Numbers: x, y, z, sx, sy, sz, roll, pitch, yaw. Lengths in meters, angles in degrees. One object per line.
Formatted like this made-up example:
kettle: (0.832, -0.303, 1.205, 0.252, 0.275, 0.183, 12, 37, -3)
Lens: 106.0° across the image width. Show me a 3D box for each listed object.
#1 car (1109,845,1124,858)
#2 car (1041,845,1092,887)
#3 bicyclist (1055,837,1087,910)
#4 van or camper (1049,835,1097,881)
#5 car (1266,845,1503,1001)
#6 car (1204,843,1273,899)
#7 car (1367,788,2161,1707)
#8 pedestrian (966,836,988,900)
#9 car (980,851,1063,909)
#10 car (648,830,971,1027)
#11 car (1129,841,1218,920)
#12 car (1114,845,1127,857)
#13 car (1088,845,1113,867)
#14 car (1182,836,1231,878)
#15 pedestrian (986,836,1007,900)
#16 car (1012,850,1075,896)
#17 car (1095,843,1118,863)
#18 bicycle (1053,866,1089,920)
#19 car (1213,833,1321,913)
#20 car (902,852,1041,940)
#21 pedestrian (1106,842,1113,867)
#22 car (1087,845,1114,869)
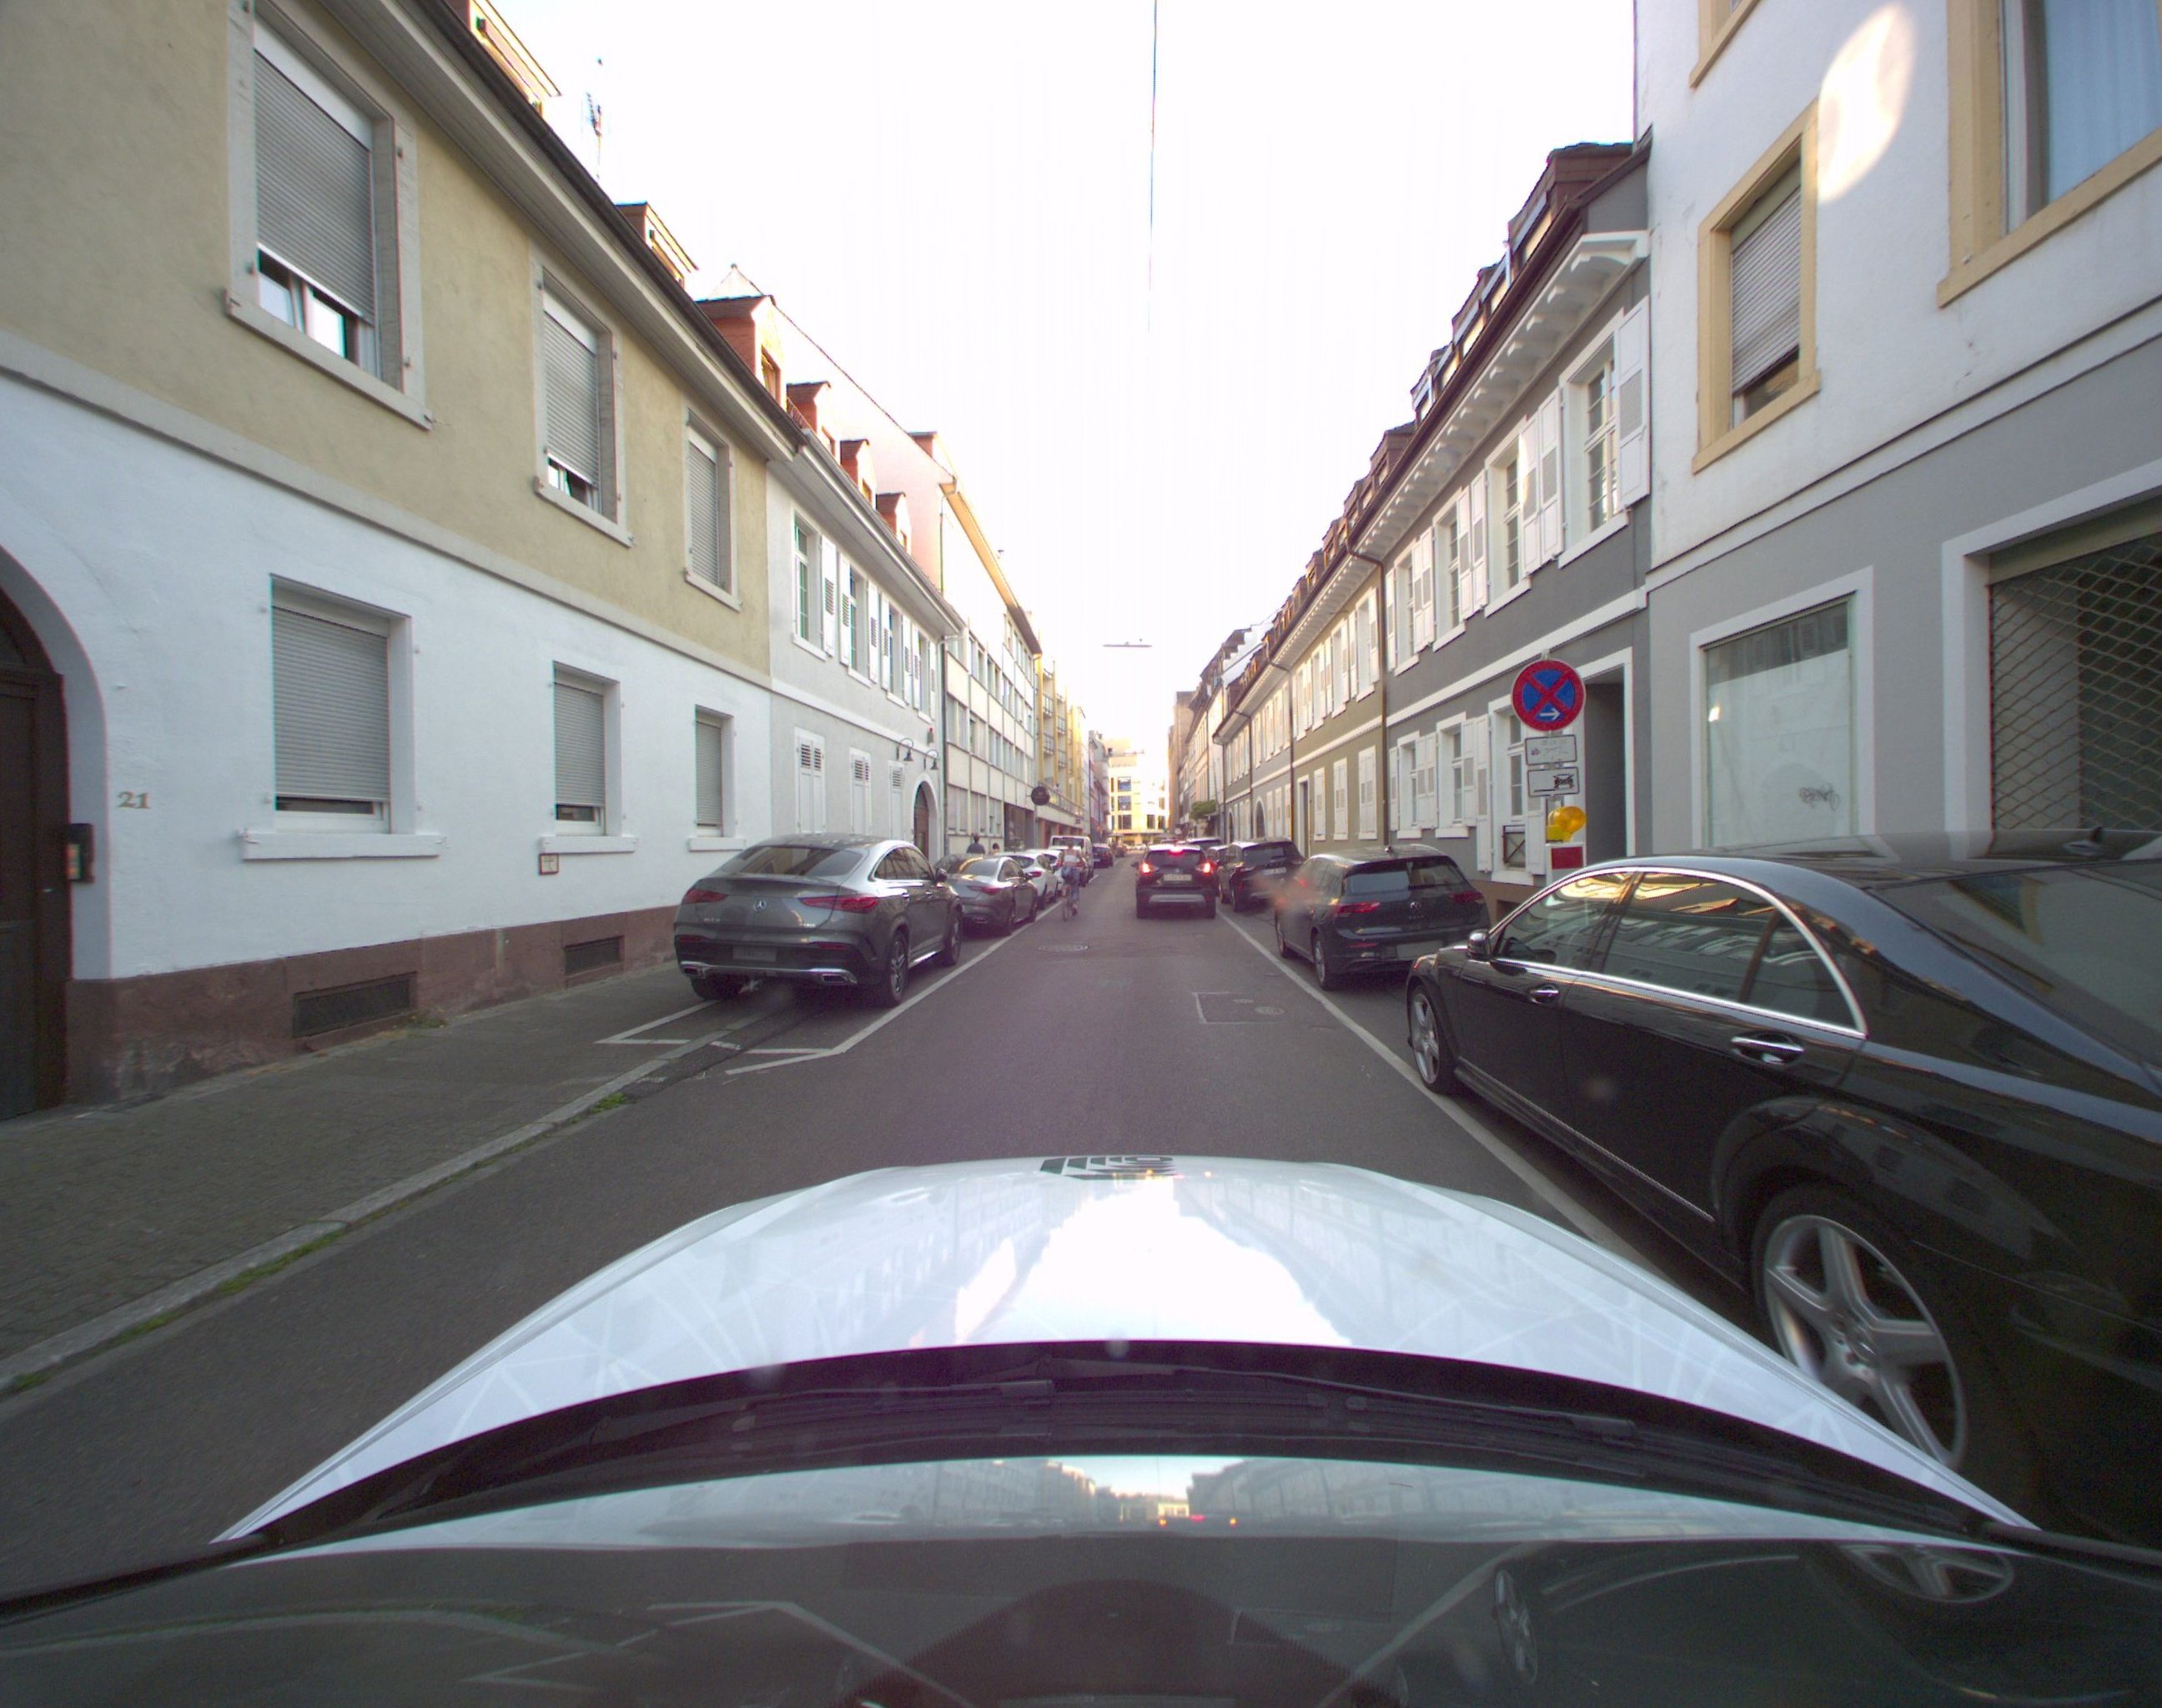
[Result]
car: (4.367, -0.354, 99.903, 1.646, 1.561, 3.610, 0, 1, 4)
car: (-0.507, 0.424, 32.097, 1.646, 1.561, 3.610, 0, 1, 4)
bicyclist: (-0.216, 0.414, 17.999, 0.618, 1.574, 0.684, -1, 0, 5)
van or camper: (-0.294, 0.143, 37.948, 1.836, 2.013, 4.684, 0, 1, 4)
car: (3.379, 0.641, 9.870, 1.668, 1.486, 4.005, 0, 1, 4)
car: (4.690, 0.455, 24.686, 1.646, 1.561, 3.610, 0, 1, 4)
car: (2.767, 0.613, 3.274, 1.810, 1.530, 5.079, -4, 0, 6)
pedestrian: (-3.317, 0.452, 26.062, 0.607, 2.013, 0.450, -1, 0, 1)
car: (-1.509, 0.637, 22.059, 1.646, 1.411, 3.907, 0, 1, 4)
car: (-2.683, 0.624, 9.376, 1.989, 1.707, 4.539, 0, 1, 3)
car: (2.037, 0.524, 18.726, 1.811, 1.618, 4.004, 0, 1, 4)
car: (5.196, -0.416, 106.642, 1.646, 1.561, 3.610, 0, 1, 4)
car: (1.445, 0.136, 59.894, 1.646, 1.561, 3.610, 0, 1, 4)
car: (4.910, 0.089, 32.284, 1.646, 1.561, 3.610, 0, 1, 4)
pedestrian: (-2.673, 0.447, 25.782, 0.607, 2.013, 0.450, -1, 0, 1)
car: (-1.177, 0.590, 27.145, 1.646, 1.411, 3.610, 0, 1, 4)
car: (2.068, -0.062, 65.564, 1.646, 1.561, 3.610, 0, 1, 4)
bicycle: (-0.197, 0.838, 18.062, 0.610, 1.082, 1.811, -1, 0, 5)
car: (4.405, 0.390, 19.935, 1.910, 1.738, 4.157, 0, 1, 3)
car: (-1.942, 0.699, 15.787, 1.910, 1.434, 4.297, 0, 1, 3)
pedestrian: (2.047, 0.031, 58.494, 0.552, 1.752, 0.568, -1, 0, 1)
car: (1.338, 0.161, 54.578, 1.646, 1.561, 3.610, 0, 1, 4)
